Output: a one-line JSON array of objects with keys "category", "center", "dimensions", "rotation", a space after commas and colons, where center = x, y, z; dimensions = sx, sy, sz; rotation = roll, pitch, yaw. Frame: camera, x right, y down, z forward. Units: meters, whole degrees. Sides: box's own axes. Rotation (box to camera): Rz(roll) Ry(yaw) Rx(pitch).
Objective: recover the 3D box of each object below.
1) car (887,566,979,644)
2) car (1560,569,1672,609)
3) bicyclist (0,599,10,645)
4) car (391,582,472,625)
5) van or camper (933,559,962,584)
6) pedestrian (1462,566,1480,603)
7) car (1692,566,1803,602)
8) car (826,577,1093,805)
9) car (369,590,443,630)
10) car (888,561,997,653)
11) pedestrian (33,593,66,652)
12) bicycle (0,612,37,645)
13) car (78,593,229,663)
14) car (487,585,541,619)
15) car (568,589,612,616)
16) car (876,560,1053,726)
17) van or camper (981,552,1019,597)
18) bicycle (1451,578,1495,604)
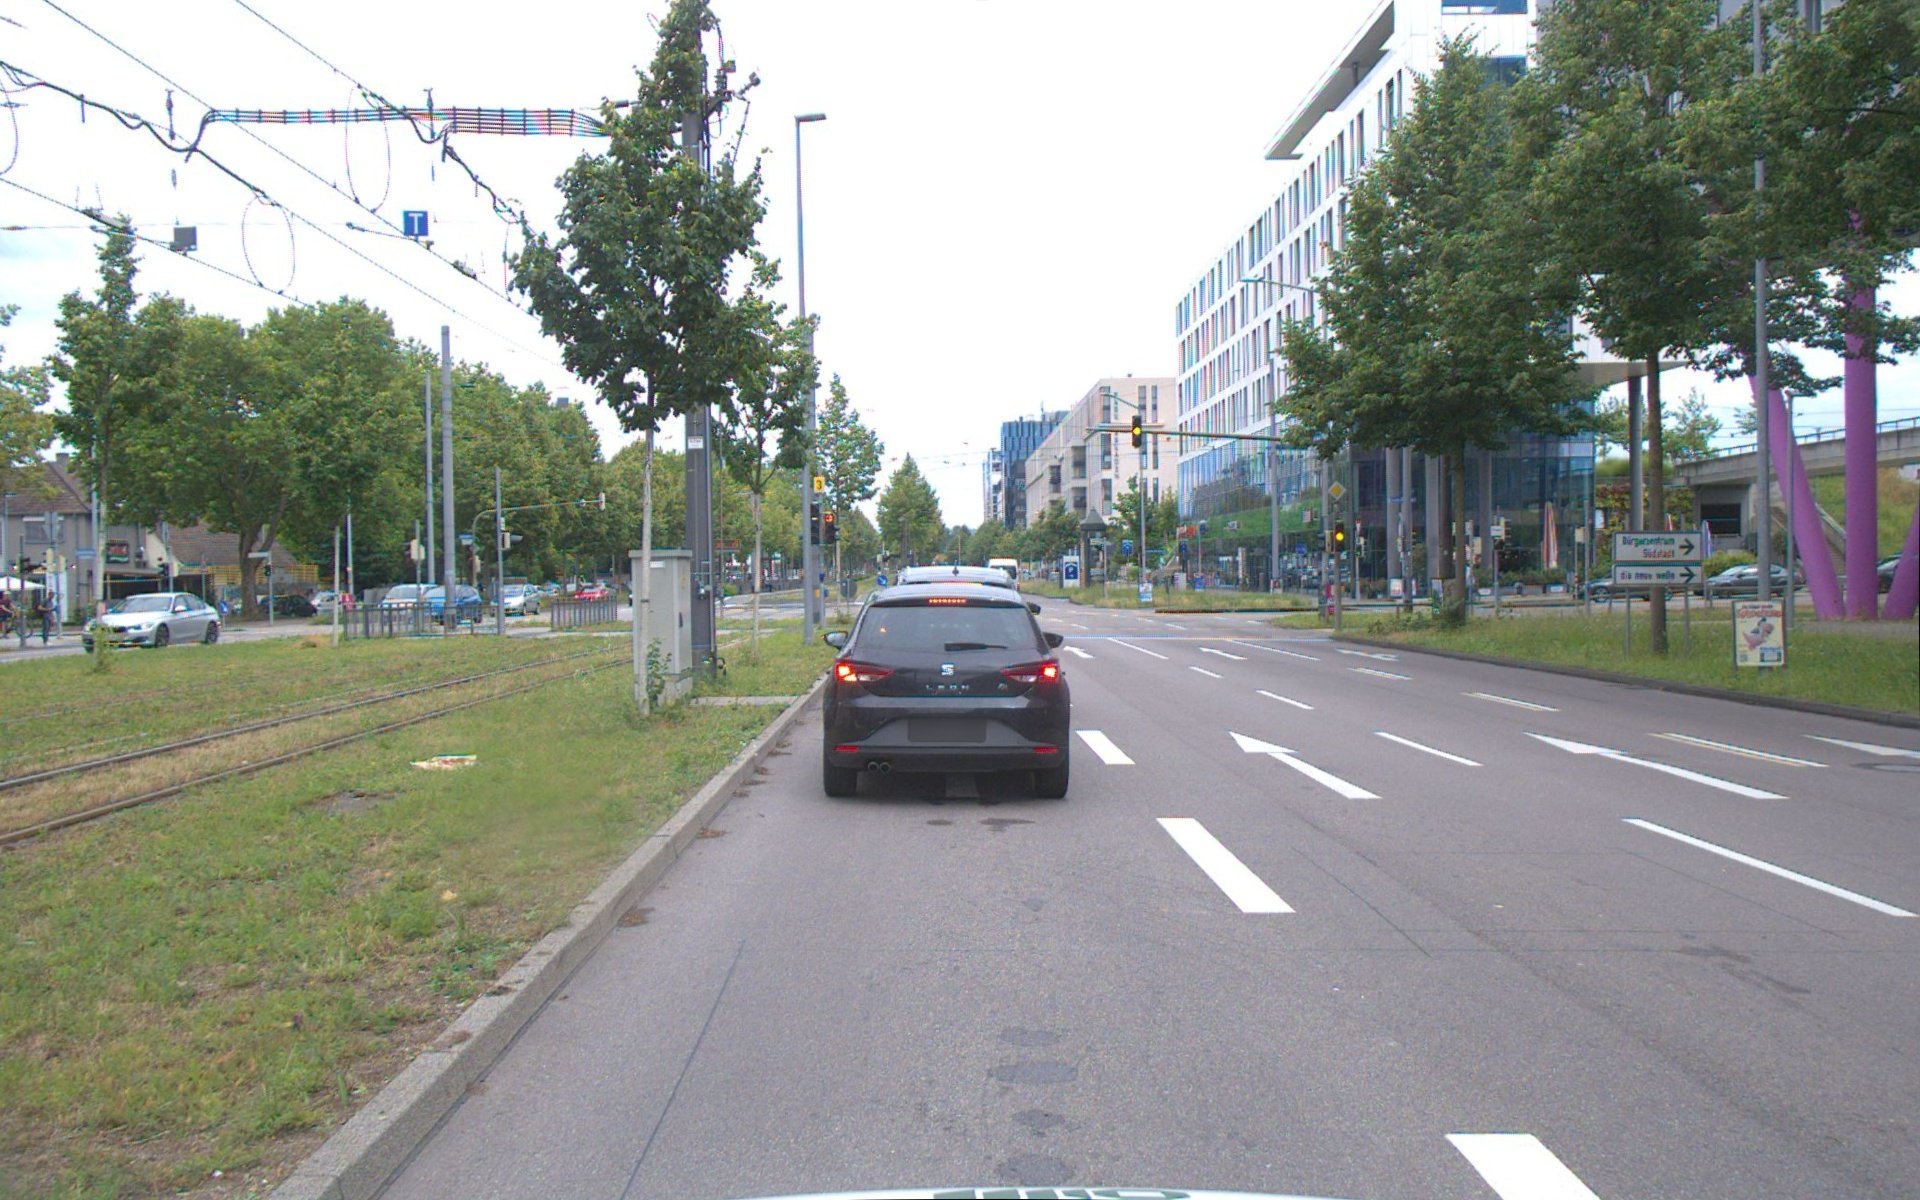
[{"category": "car", "center": [-0.571, 0.073, 38.312], "dimensions": [1.952, 1.711, 4.001], "rotation": [0, 1, 1]}, {"category": "car", "center": [28.505, -0.501, 71.923], "dimensions": [4.163, 1.643, 1.758], "rotation": [-1, 1, 1]}, {"category": "bicyclist", "center": [-37.661, 0.858, 64.650], "dimensions": [0.840, 1.751, 0.714], "rotation": [-1, 1, -27]}, {"category": "car", "center": [-20.873, 0.108, 65.476], "dimensions": [1.925, 1.616, 4.686], "rotation": [0, 1, -4]}, {"category": "van or camper", "center": [-0.866, -1.988, 113.555], "dimensions": [1.953, 1.643, 4.789], "rotation": [0, 2, 0]}, {"category": "pedestrian", "center": [22.806, -0.678, 73.849], "dimensions": [0.602, 1.632, 0.619], "rotation": [-1, 1, 1]}, {"category": "car", "center": [34.411, -0.691, 72.323], "dimensions": [3.996, 1.480, 1.758], "rotation": [-1, 1, 1]}, {"category": "car", "center": [-0.053, 0.563, 12.646], "dimensions": [1.708, 1.442, 3.999], "rotation": [0, 1, -2]}, {"category": "car", "center": [-23.536, 0.404, 70.393], "dimensions": [1.760, 1.598, 4.576], "rotation": [1, 0, -3]}, {"category": "car", "center": [-0.289, 0.093, 32.822], "dimensions": [1.952, 1.711, 4.002], "rotation": [0, 1, 2]}, {"category": "pedestrian", "center": [-29.257, 0.706, 53.161], "dimensions": [0.765, 1.864, 0.772], "rotation": [-1, 1, -18]}, {"category": "bicycle", "center": [-37.555, 1.132, 64.701], "dimensions": [2.478, 1.223, 0.733], "rotation": [-1, 1, -27]}, {"category": "car", "center": [-20.133, 0.645, 41.538], "dimensions": [1.695, 1.470, 4.917], "rotation": [-3, 2, -5]}, {"category": "car", "center": [-23.006, 0.087, 85.456], "dimensions": [1.686, 1.672, 4.672], "rotation": [-1, 1, -3]}, {"category": "car", "center": [-23.578, 0.151, 105.611], "dimensions": [1.759, 1.598, 4.328], "rotation": [-1, 1, 0]}, {"category": "car", "center": [0.017, 0.403, 18.775], "dimensions": [1.766, 1.652, 4.000], "rotation": [-1, 1, -1]}, {"category": "van or camper", "center": [2.274, -1.500, 95.257], "dimensions": [2.066, 2.396, 4.924], "rotation": [0, 3, 0]}, {"category": "bicycle", "center": [22.894, -0.414, 73.851], "dimensions": [1.755, 1.104, 0.618], "rotation": [-1, 1, 1]}]
